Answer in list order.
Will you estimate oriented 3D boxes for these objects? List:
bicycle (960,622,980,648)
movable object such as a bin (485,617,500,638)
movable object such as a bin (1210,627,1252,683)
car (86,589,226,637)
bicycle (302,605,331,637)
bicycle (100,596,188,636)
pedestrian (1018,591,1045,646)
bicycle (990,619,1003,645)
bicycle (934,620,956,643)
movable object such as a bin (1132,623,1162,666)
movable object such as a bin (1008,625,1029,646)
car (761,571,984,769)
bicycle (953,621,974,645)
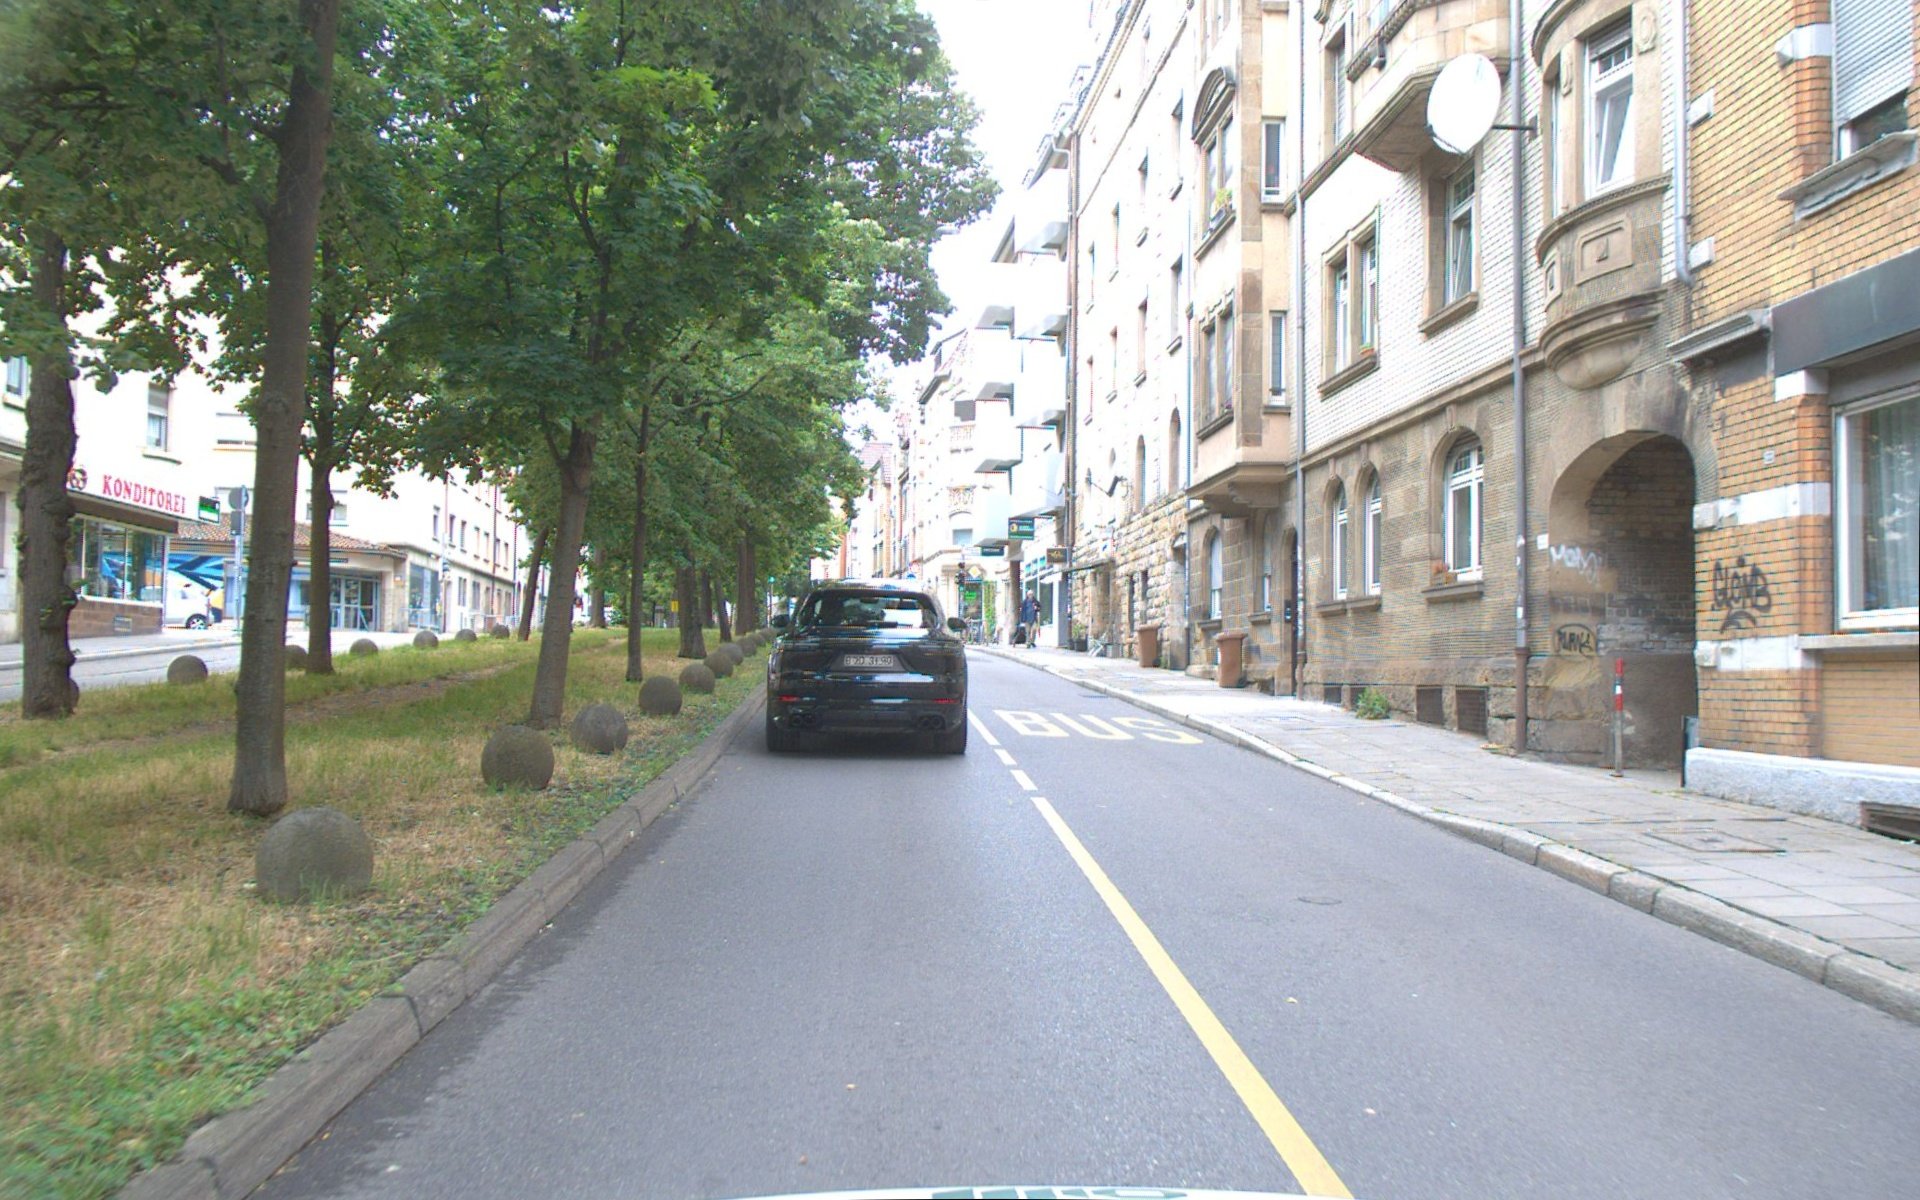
[{"bbox_3d":[0.376,1.352,62.990,0.558,0.948,1.772,2,-2,-5],"label":"bicycle"},{"bbox_3d":[-24.911,1.446,88.099,0.679,1.078,0.688,2,-3,-10],"label":"movable object such as a bin"},{"bbox_3d":[4.662,0.942,28.474,0.582,0.920,0.562,2,-1,-3],"label":"movable object such as a bin"},{"bbox_3d":[-27.427,0.439,56.469,4.000,1.505,1.797,-2,0,-38],"label":"car"},{"bbox_3d":[-23.215,0.754,59.637,0.753,1.104,2.019,3,-3,-27],"label":"bicycle"},{"bbox_3d":[-23.660,0.468,47.936,2.402,1.065,0.868,2,-2,22],"label":"bicycle"},{"bbox_3d":[2.262,0.593,52.390,0.736,1.723,0.857,0,-2,-4],"label":"pedestrian"},{"bbox_3d":[1.905,1.661,86.323,0.438,1.182,1.832,0,4,-7],"label":"bicycle"},{"bbox_3d":[-0.814,1.702,88.152,0.862,1.149,2.975,2,-2,-6],"label":"bicycle"},{"bbox_3d":[4.183,0.994,36.934,0.582,0.920,0.502,2,-4,-4],"label":"movable object such as a bin"},{"bbox_3d":[1.873,1.140,53.212,0.595,0.680,0.857,0,-2,-4],"label":"movable object such as a bin"},{"bbox_3d":[-0.856,0.604,17.031,1.953,1.694,3.999,2,1,-2],"label":"car"},{"bbox_3d":[0.148,1.322,65.619,0.282,0.948,1.752,2,-2,-18],"label":"bicycle"}]
